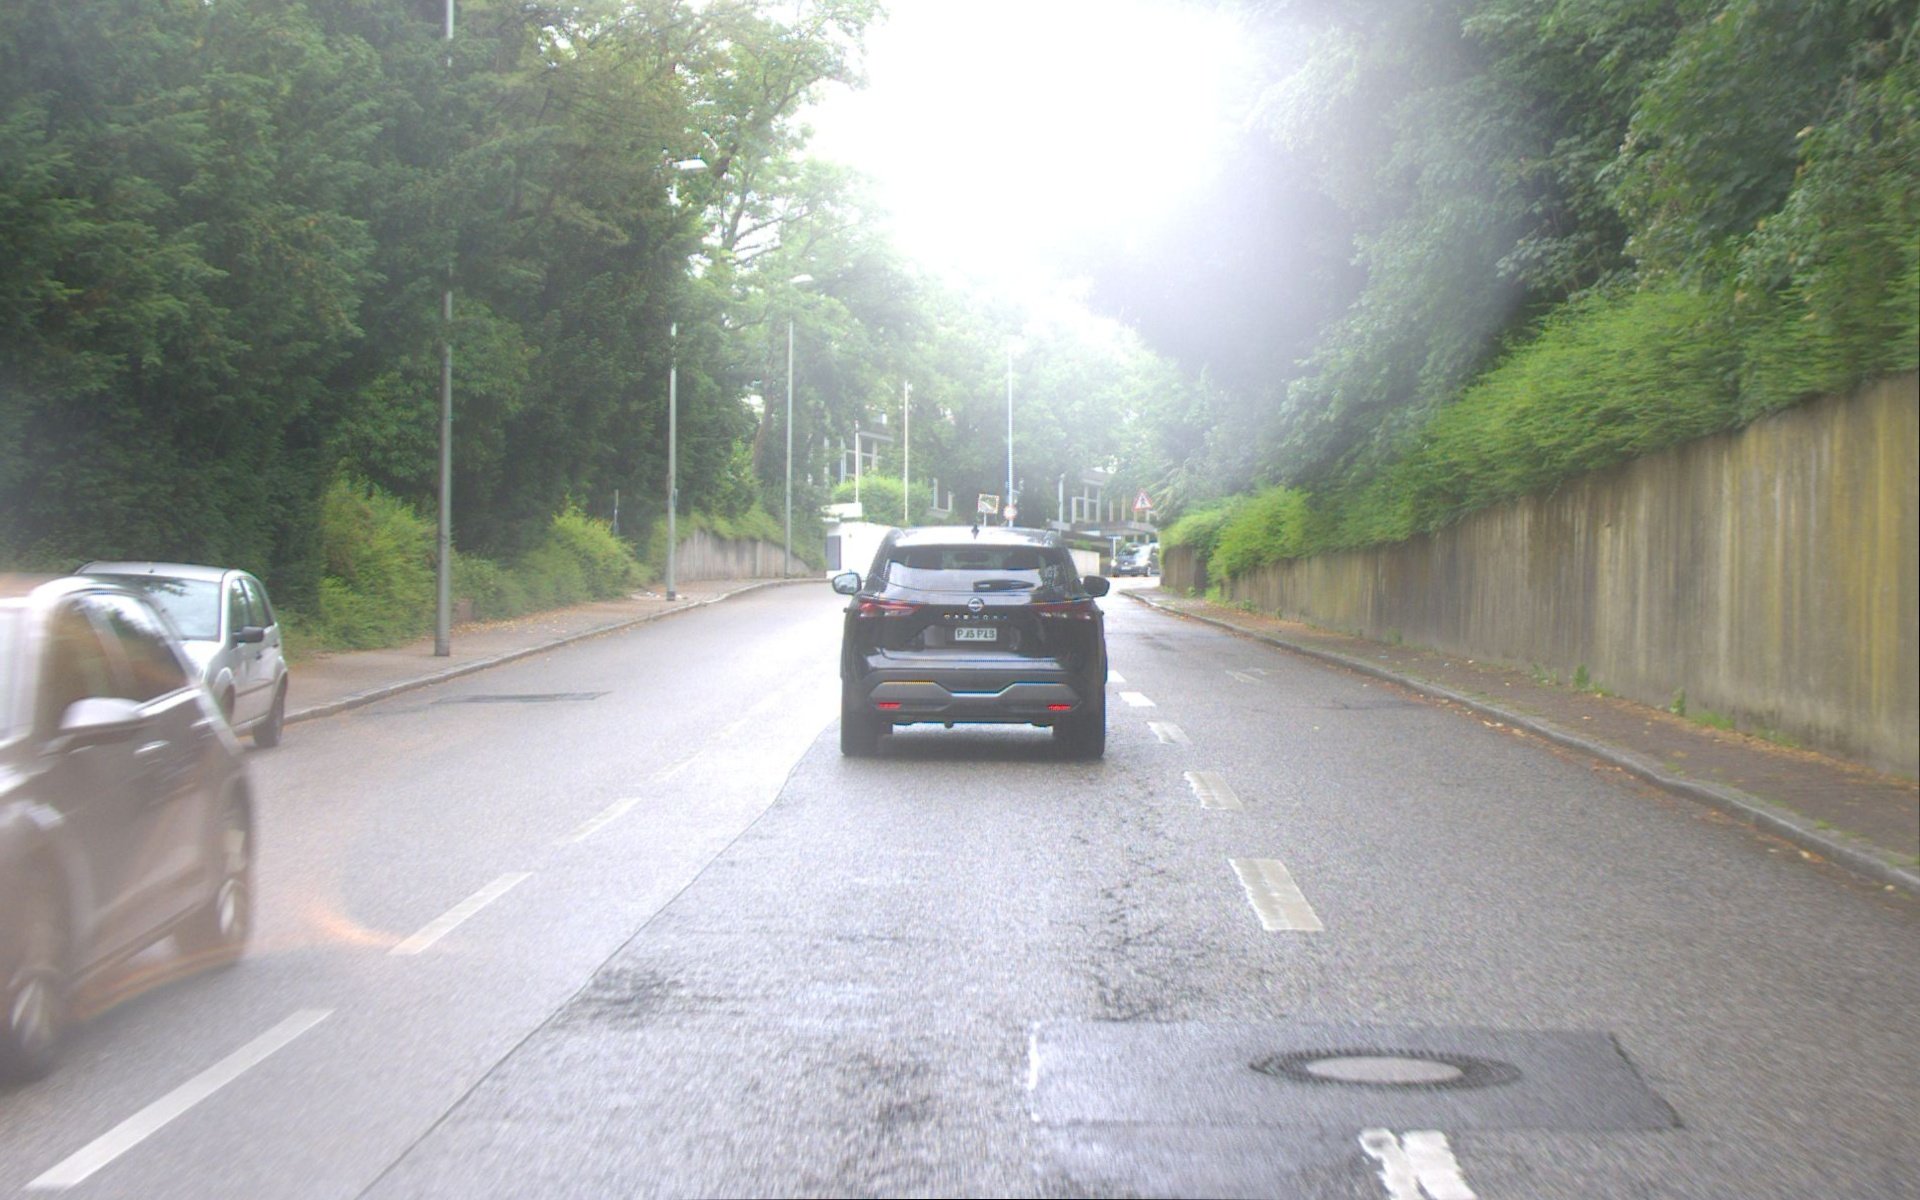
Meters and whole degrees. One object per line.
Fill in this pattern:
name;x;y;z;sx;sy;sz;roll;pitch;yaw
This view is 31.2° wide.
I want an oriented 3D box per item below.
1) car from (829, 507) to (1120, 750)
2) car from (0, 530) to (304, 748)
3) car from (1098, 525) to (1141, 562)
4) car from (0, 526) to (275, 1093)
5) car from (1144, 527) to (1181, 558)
car;0.097;0.145;24.854;1.928;1.607;4.000;0;1;0
car;-6.209;0.242;26.588;1.626;1.494;3.929;2;1;-2
car;7.581;-2.682;163.392;1.831;1.705;3.999;1;1;5
car;-3.441;0.534;10.859;1.761;1.486;4.000;-2;1;-1
car;10.045;-2.865;170.439;1.675;1.491;3.460;0;1;6
